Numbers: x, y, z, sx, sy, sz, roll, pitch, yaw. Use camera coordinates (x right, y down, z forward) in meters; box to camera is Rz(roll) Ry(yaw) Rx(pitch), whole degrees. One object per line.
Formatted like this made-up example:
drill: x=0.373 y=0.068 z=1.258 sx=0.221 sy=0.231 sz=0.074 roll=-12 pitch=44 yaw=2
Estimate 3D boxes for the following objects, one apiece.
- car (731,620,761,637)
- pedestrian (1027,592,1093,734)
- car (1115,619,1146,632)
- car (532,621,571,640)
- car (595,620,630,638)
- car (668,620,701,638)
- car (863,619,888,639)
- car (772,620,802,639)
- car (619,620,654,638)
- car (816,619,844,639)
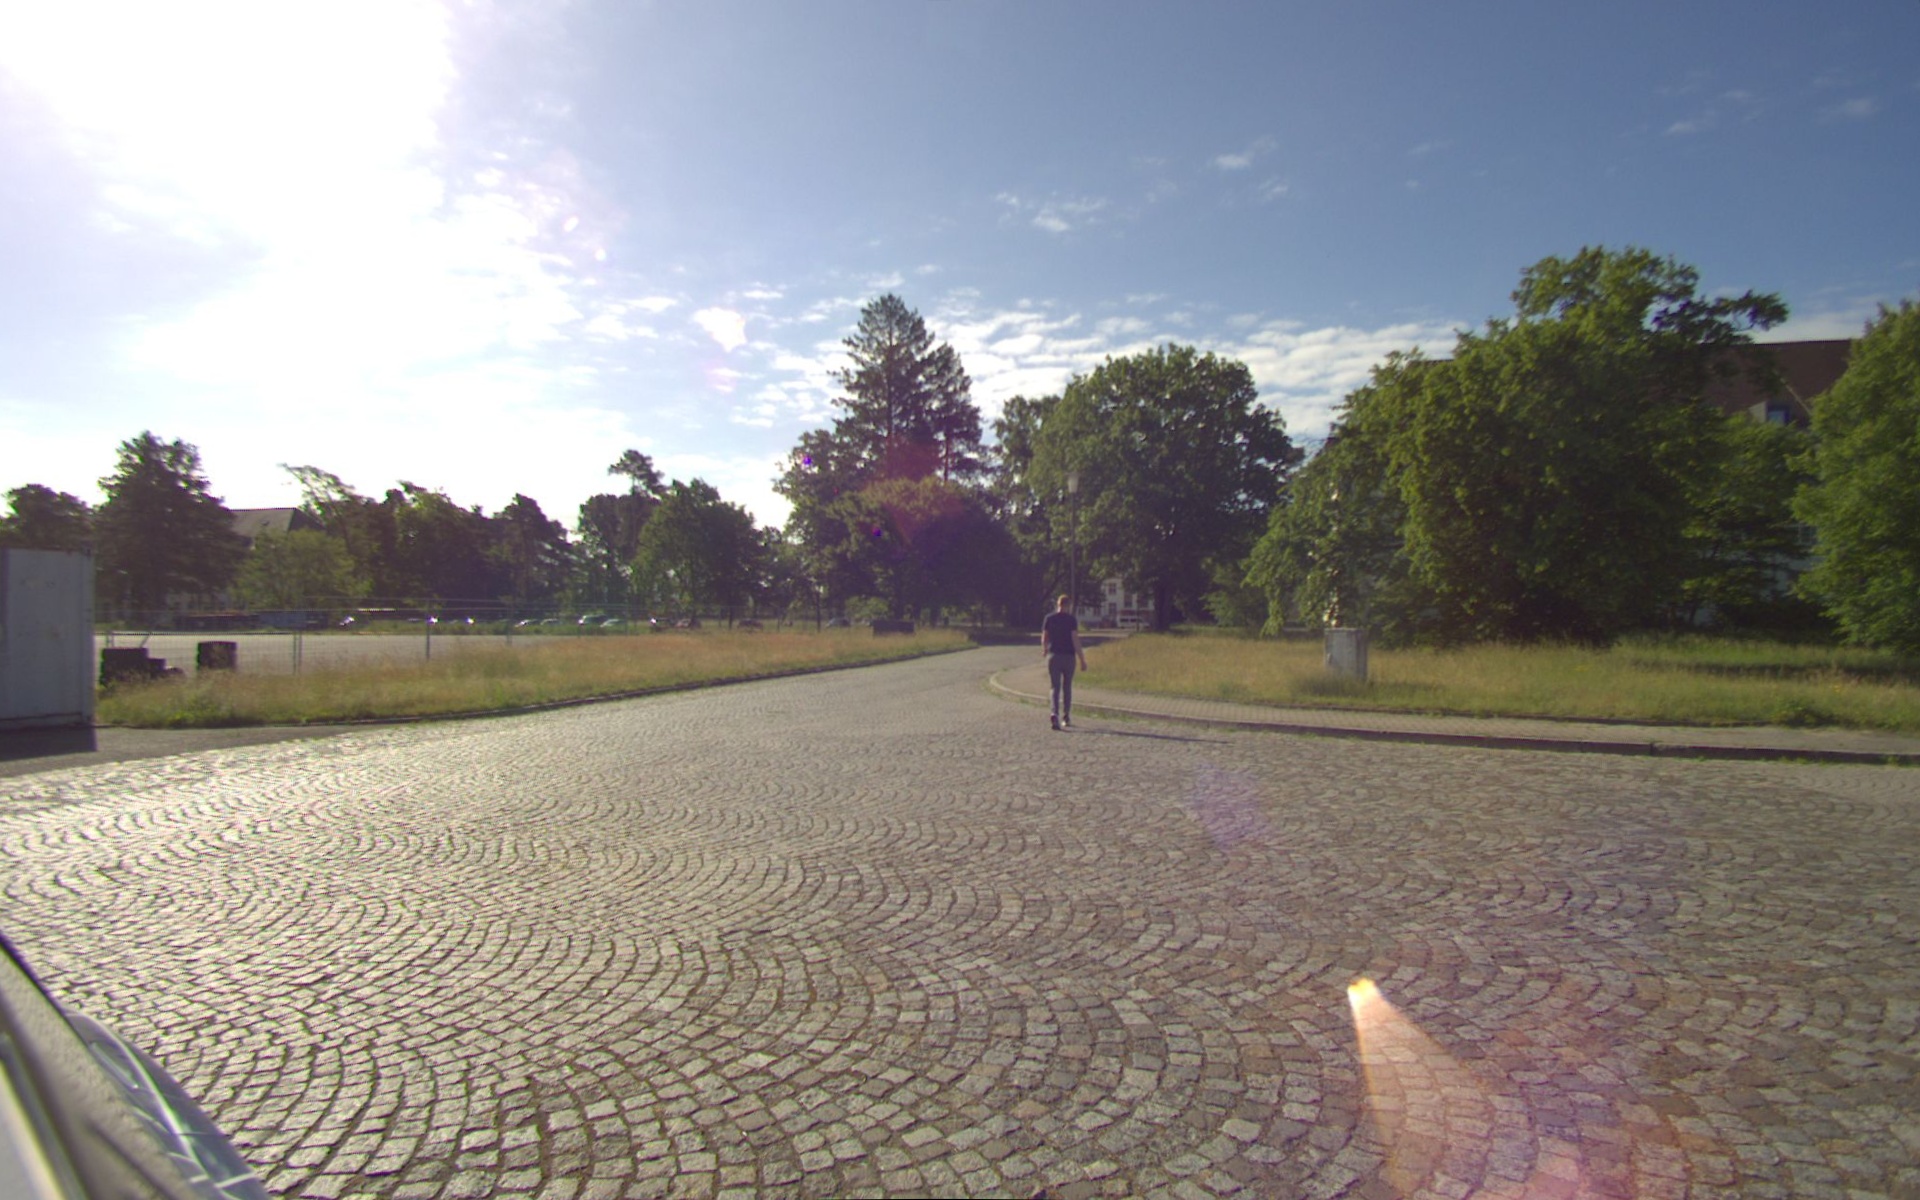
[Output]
car: x=-23.135 y=3.085 z=109.504 sx=1.976 sy=1.829 sz=3.992 roll=0 pitch=-1 yaw=6
pedestrian: x=1.430 y=0.865 z=14.349 sx=0.792 sy=1.929 sz=1.137 roll=0 pitch=-1 yaw=14
car: x=27.054 y=4.078 z=160.641 sx=4.825 sy=2.111 sz=1.991 roll=0 pitch=-1 yaw=13
car: x=-46.535 y=3.493 z=115.411 sx=1.985 sy=2.029 sz=3.974 roll=-4 pitch=-2 yaw=19
car: x=-39.018 y=3.274 z=113.651 sx=1.978 sy=1.962 sz=3.986 roll=0 pitch=-1 yaw=11
car: x=-30.302 y=3.186 z=111.355 sx=1.979 sy=2.029 sz=3.985 roll=0 pitch=-1 yaw=11
car: x=-8.779 y=3.030 z=105.467 sx=1.976 sy=2.029 sz=3.992 roll=0 pitch=-1 yaw=6
car: x=-18.584 y=3.150 z=108.773 sx=1.978 sy=2.029 sz=3.987 roll=0 pitch=-1 yaw=10
car: x=-36.457 y=3.240 z=114.191 sx=1.980 sy=2.029 sz=3.983 roll=0 pitch=-1 yaw=13
car: x=-13.711 y=3.044 z=106.923 sx=1.976 sy=2.029 sz=3.992 roll=0 pitch=-1 yaw=6
